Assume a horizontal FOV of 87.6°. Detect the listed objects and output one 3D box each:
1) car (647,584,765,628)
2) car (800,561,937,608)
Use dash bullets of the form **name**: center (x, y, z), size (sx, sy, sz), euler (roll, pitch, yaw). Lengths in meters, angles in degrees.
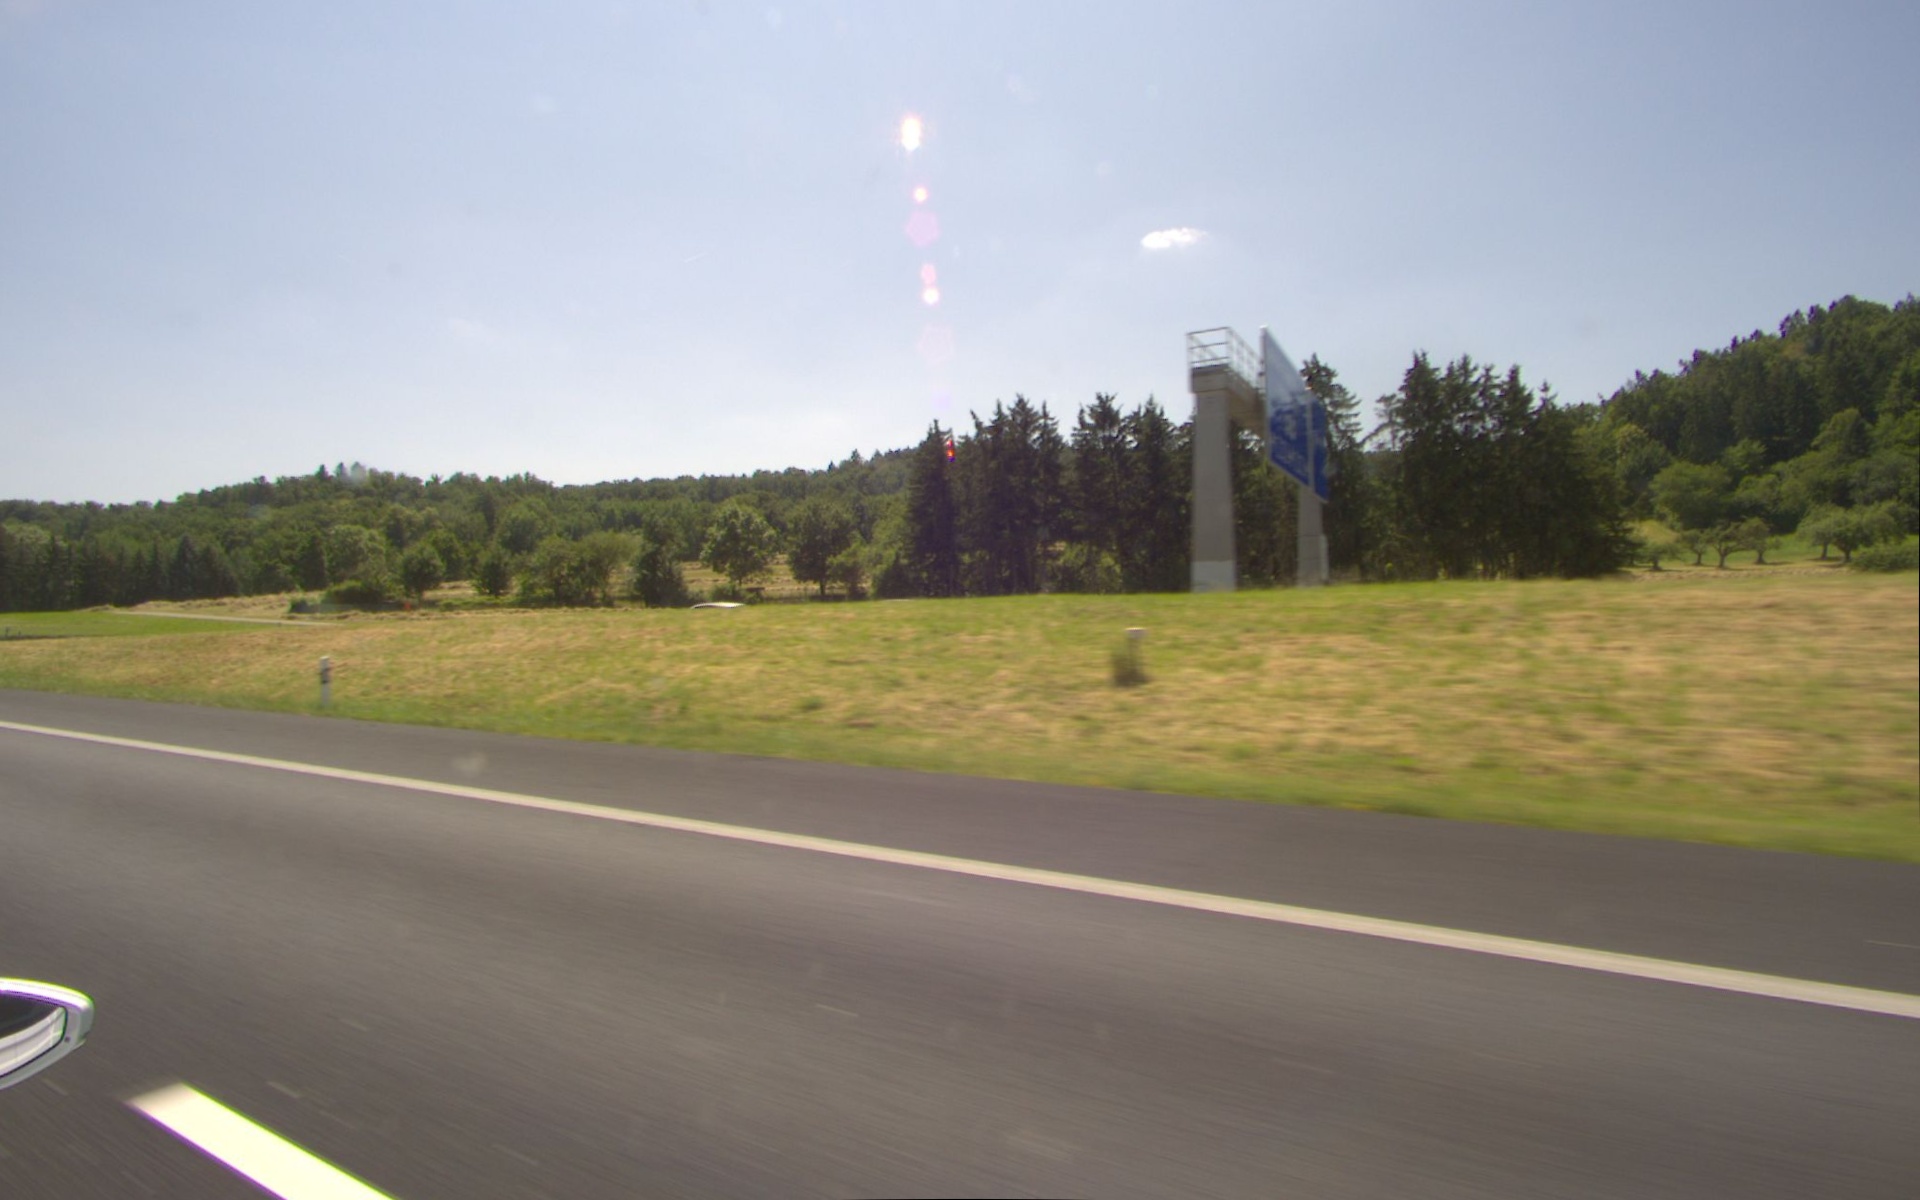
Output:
- **car**: center (-10.384, 0.276, 41.007), size (4.393, 1.683, 1.995), euler (-1, -2, 23)
- **car**: center (-3.816, -0.584, 41.390), size (5.544, 1.683, 1.991), euler (-1, -2, 31)
